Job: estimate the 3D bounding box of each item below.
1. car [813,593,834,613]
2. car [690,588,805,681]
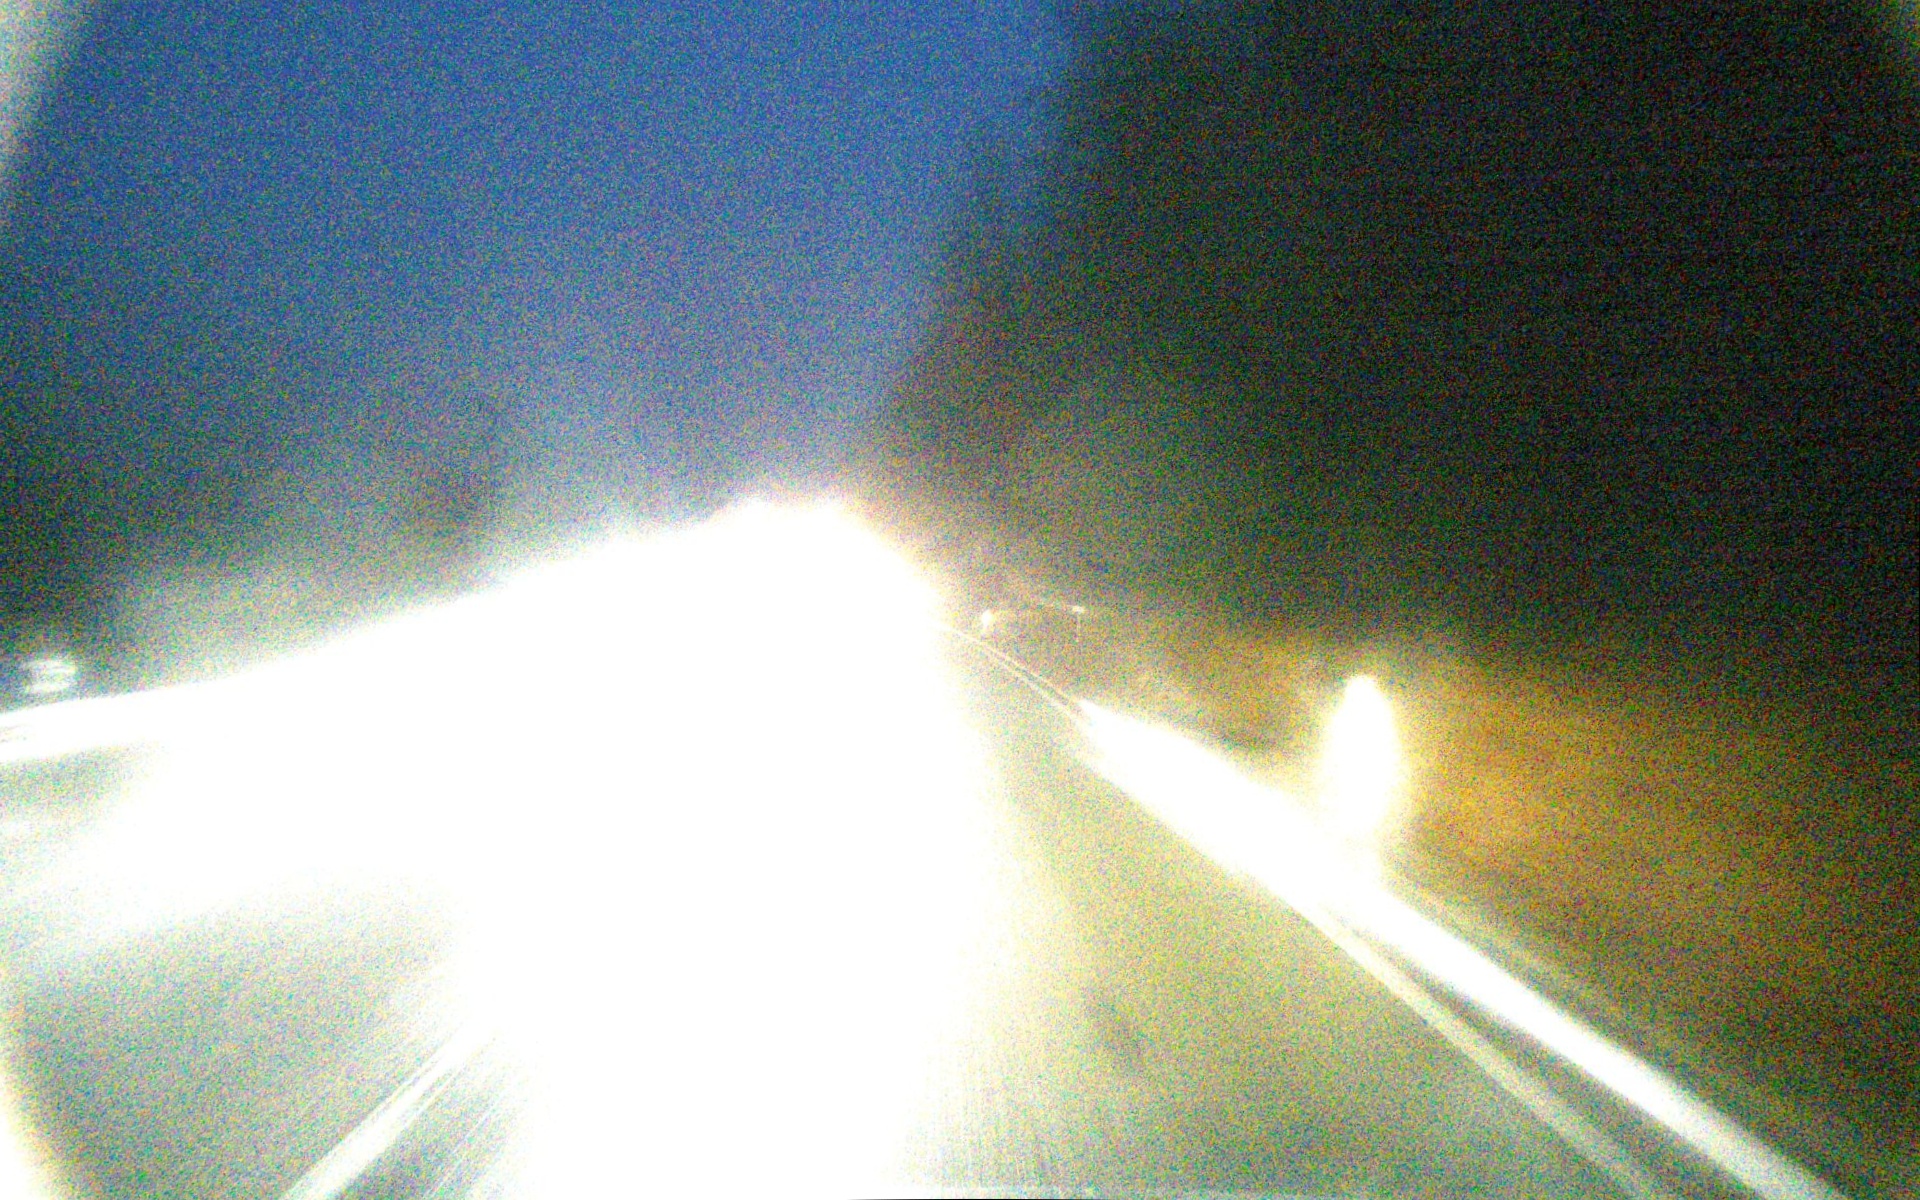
[{"bbox_3d":[-11.849,0.238,143.792,1.737,1.704,4.050,1,0,-5],"label":"car"},{"bbox_3d":[-3.870,0.605,30.662,1.781,1.582,3.869,-1,0,-3],"label":"car"}]
